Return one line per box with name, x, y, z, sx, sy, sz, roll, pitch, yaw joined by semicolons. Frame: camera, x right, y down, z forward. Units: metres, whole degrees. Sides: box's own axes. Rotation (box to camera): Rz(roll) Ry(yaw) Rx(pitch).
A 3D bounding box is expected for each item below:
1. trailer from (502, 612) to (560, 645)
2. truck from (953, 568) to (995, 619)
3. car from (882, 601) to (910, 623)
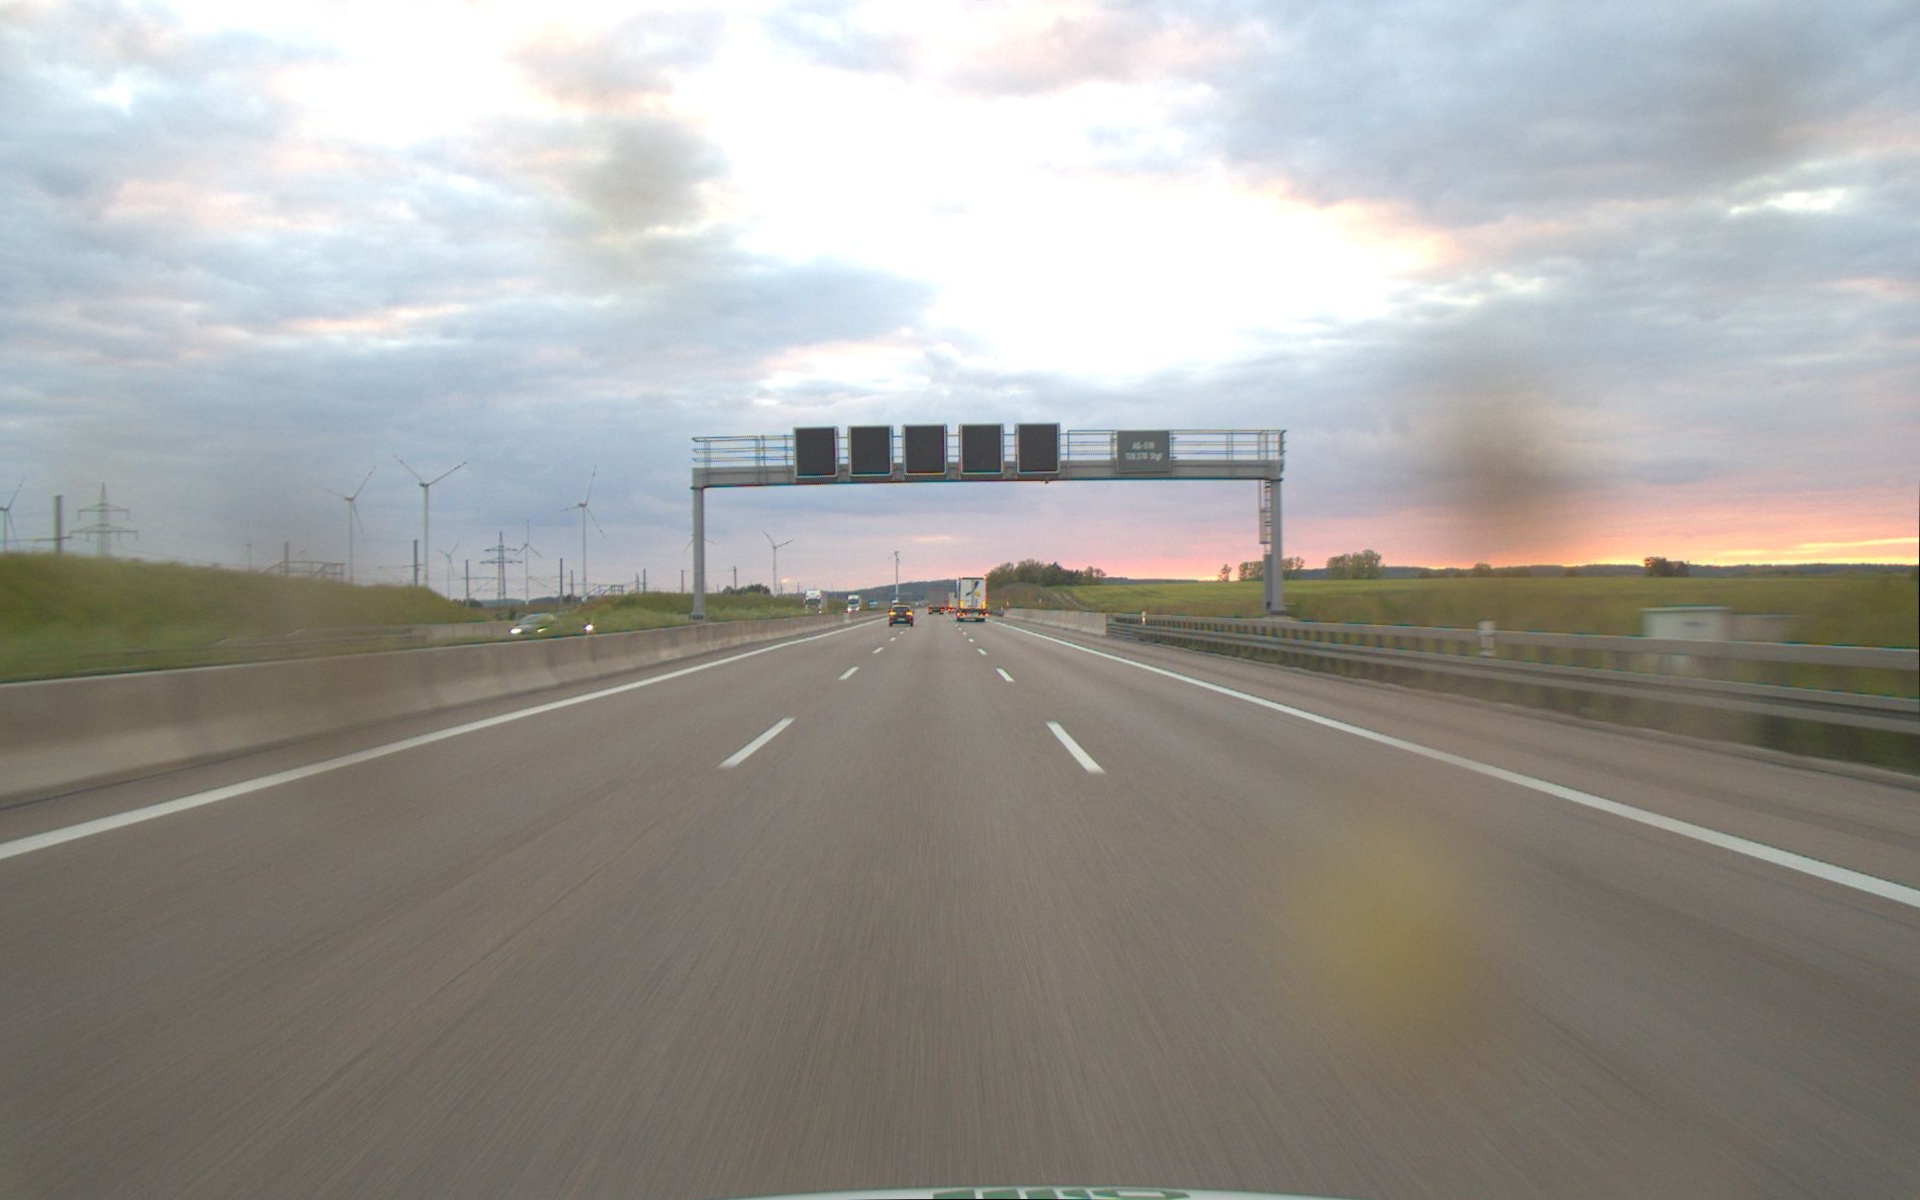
trailer;-20.557;1.357;79.368;1.682;1.489;4.000;-1;0;0
truck;1.229;-0.616;156.649;3.601;4.645;10.978;1;0;-1
car;-4.542;0.861;117.465;1.947;1.455;3.999;-1;0;-2
